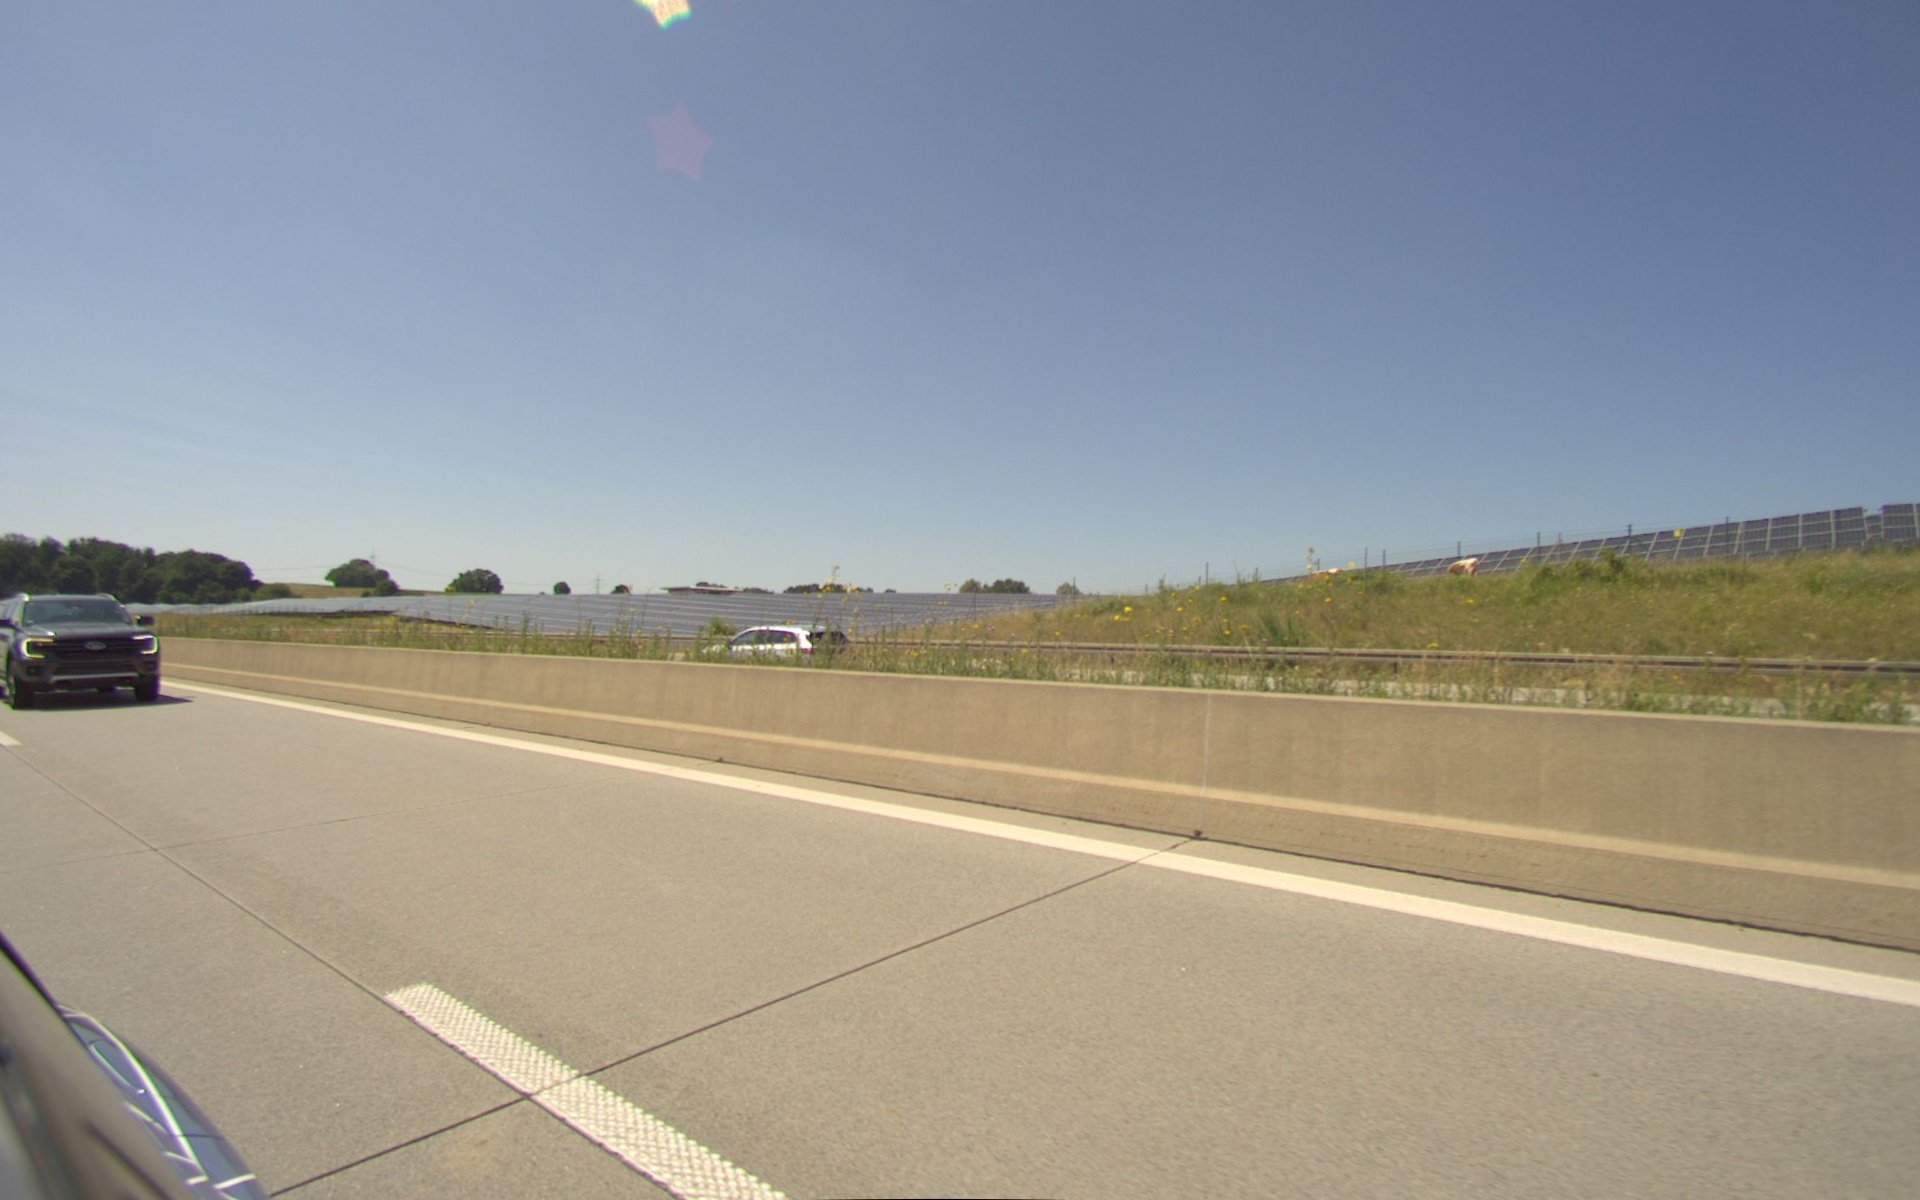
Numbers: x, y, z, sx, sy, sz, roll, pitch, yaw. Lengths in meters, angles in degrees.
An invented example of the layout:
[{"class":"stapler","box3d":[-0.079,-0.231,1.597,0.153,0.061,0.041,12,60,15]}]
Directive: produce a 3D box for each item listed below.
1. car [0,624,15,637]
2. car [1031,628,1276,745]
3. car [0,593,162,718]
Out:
[{"class":"car","box3d":[-112.362,3.593,118.826,3.996,1.493,1.610,-1,0,39]},{"class":"car","box3d":[3.380,1.440,18.141,3.998,1.837,1.725,-1,-1,41]},{"class":"car","box3d":[-16.184,0.872,18.149,6.530,1.860,1.972,-1,0,43]}]
